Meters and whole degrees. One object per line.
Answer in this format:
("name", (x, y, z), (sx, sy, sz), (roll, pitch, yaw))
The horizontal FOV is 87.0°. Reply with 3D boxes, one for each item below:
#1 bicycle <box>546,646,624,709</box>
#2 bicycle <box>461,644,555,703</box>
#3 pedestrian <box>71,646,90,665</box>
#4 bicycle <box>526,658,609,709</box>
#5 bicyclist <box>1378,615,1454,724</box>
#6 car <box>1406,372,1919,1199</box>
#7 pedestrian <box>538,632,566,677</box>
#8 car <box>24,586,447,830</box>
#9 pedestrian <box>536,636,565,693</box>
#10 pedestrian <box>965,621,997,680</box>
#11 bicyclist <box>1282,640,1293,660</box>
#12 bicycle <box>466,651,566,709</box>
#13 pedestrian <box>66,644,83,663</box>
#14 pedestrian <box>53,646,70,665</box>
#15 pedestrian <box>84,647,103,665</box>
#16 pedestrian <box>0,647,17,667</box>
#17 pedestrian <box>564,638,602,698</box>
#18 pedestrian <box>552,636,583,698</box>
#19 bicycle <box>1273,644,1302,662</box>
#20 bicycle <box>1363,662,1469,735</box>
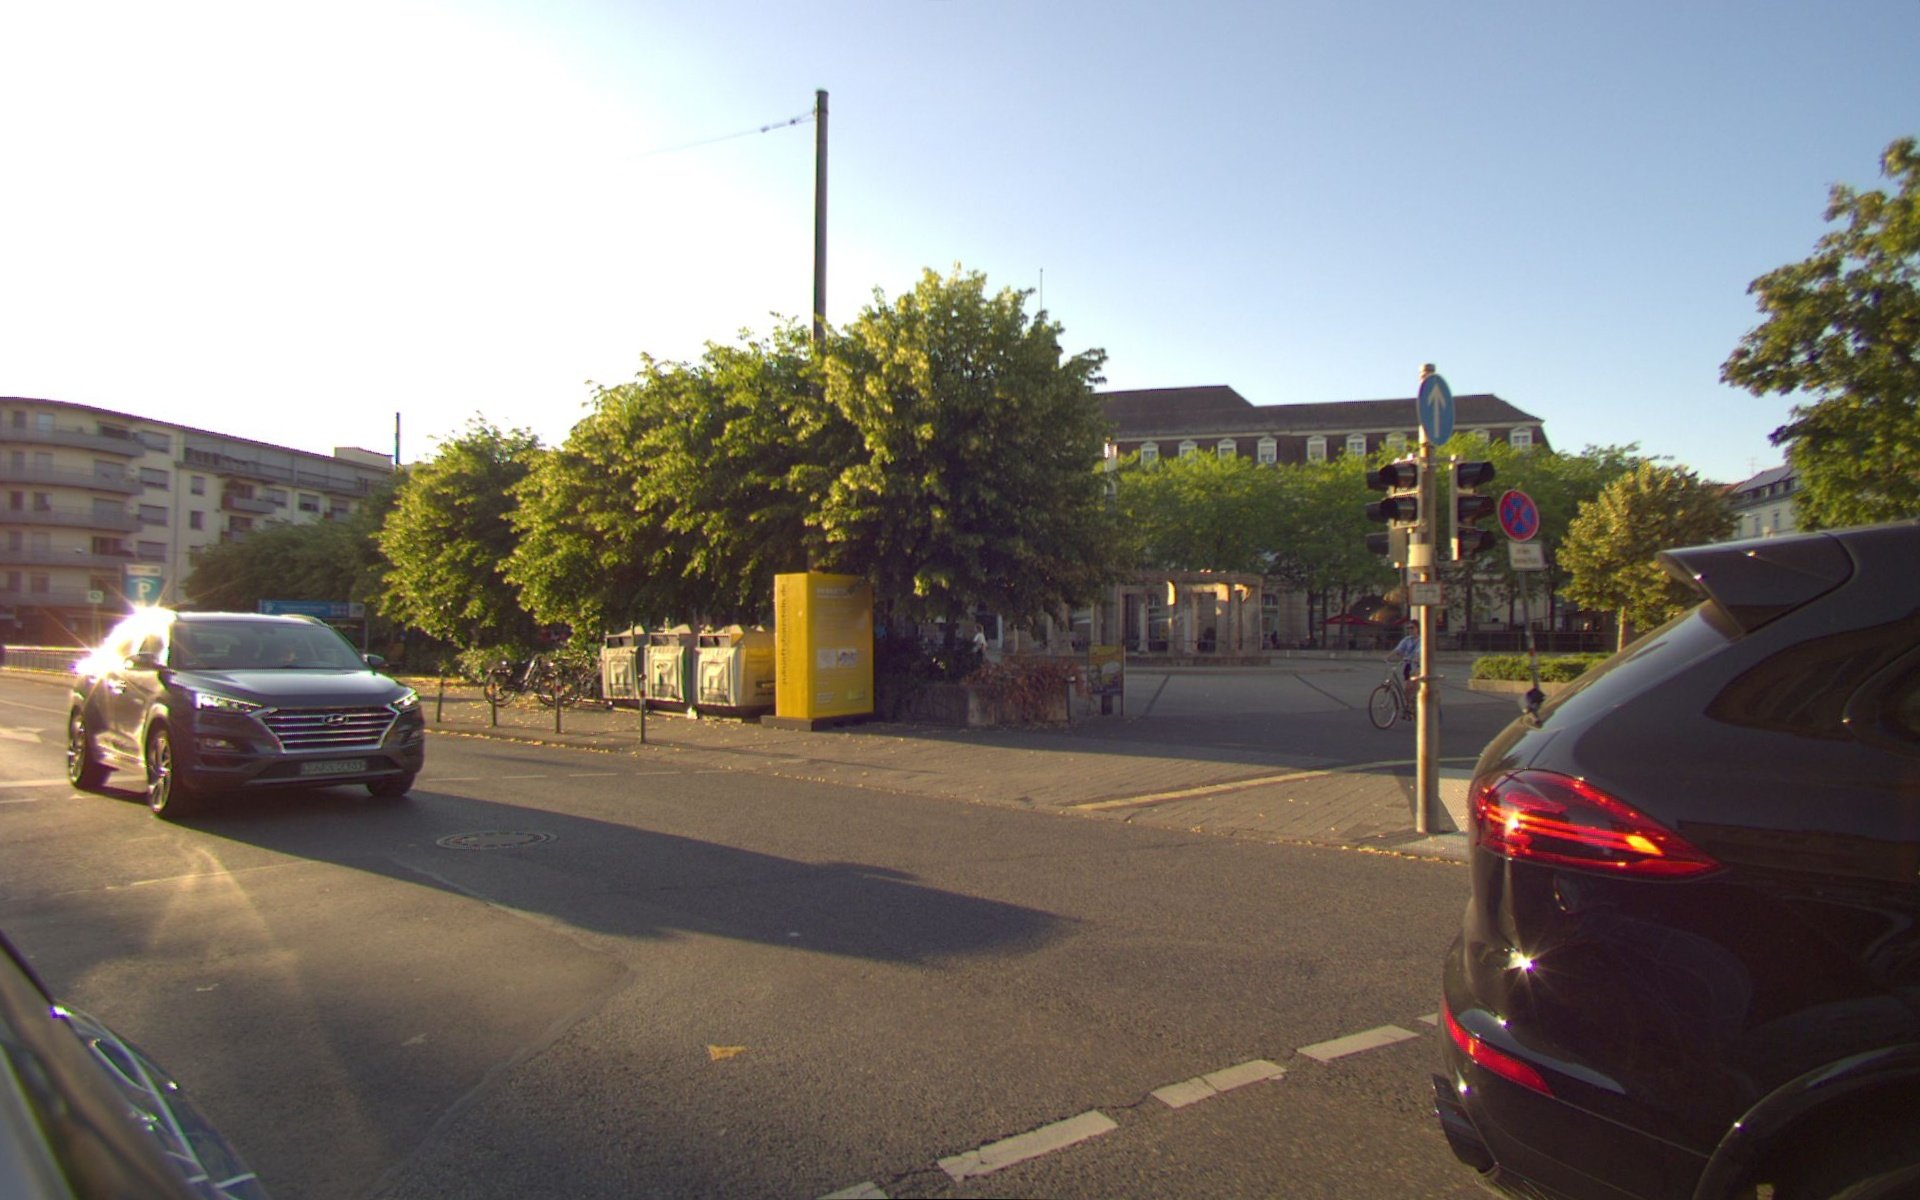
("bicycle", (-8.021, 1.629, 21.679), (0.444, 1.262, 1.572), (-2, -2, 36))
("bicycle", (-10.504, 1.683, 23.586), (0.547, 1.262, 2.008), (-2, -2, 34))
("pedestrian", (-63.293, 3.977, 72.859), (0.813, 1.332, 0.684), (-1, -2, 14))
("bicycle", (-8.485, 1.784, 21.928), (0.547, 0.986, 1.659), (-2, -2, 34))
("bicyclist", (7.560, 1.130, 16.778), (0.766, 1.737, 0.857), (2, -3, -36))
("car", (3.177, 0.536, 1.141), (4.555, 1.727, 1.930), (-2, -4, 38))
("pedestrian", (-18.524, 2.481, 45.968), (0.735, 2.029, 0.898), (-2, -3, 27))
("car", (-6.695, 0.864, 9.190), (4.442, 1.702, 1.855), (-2, -4, 37))
("pedestrian", (-14.687, 2.300, 36.295), (0.890, 2.029, 0.741), (1, -3, -25))
("pedestrian", (0.586, 1.404, 28.652), (0.693, 1.633, 0.843), (0, -1, -15))
("bicyclist", (24.679, 3.760, 76.318), (0.763, 1.459, 0.637), (-1, -1, 15))
("bicycle", (-9.619, 1.714, 22.002), (0.547, 1.143, 2.008), (-2, -2, 34))
("pedestrian", (-62.681, 3.800, 71.641), (0.887, 1.332, 0.724), (-2, -3, 36))
("pedestrian", (-63.087, 3.912, 71.088), (0.887, 1.332, 0.724), (-2, -3, 37))
("pedestrian", (-62.155, 4.020, 72.617), (0.884, 1.332, 0.727), (-2, -3, 25))
("pedestrian", (-64.072, 3.817, 67.929), (0.725, 1.332, 0.885), (-1, -2, 11))
("pedestrian", (-13.073, 2.342, 35.096), (0.851, 2.029, 0.898), (-2, -3, 25))
("pedestrian", (-13.206, 2.242, 34.030), (0.890, 2.029, 0.859), (1, -3, -25))
("bicycle", (24.686, 3.992, 76.298), (2.011, 1.270, 0.577), (-1, -1, 15))
("bicycle", (7.553, 1.597, 16.739), (1.889, 1.126, 0.707), (2, -3, -35))
